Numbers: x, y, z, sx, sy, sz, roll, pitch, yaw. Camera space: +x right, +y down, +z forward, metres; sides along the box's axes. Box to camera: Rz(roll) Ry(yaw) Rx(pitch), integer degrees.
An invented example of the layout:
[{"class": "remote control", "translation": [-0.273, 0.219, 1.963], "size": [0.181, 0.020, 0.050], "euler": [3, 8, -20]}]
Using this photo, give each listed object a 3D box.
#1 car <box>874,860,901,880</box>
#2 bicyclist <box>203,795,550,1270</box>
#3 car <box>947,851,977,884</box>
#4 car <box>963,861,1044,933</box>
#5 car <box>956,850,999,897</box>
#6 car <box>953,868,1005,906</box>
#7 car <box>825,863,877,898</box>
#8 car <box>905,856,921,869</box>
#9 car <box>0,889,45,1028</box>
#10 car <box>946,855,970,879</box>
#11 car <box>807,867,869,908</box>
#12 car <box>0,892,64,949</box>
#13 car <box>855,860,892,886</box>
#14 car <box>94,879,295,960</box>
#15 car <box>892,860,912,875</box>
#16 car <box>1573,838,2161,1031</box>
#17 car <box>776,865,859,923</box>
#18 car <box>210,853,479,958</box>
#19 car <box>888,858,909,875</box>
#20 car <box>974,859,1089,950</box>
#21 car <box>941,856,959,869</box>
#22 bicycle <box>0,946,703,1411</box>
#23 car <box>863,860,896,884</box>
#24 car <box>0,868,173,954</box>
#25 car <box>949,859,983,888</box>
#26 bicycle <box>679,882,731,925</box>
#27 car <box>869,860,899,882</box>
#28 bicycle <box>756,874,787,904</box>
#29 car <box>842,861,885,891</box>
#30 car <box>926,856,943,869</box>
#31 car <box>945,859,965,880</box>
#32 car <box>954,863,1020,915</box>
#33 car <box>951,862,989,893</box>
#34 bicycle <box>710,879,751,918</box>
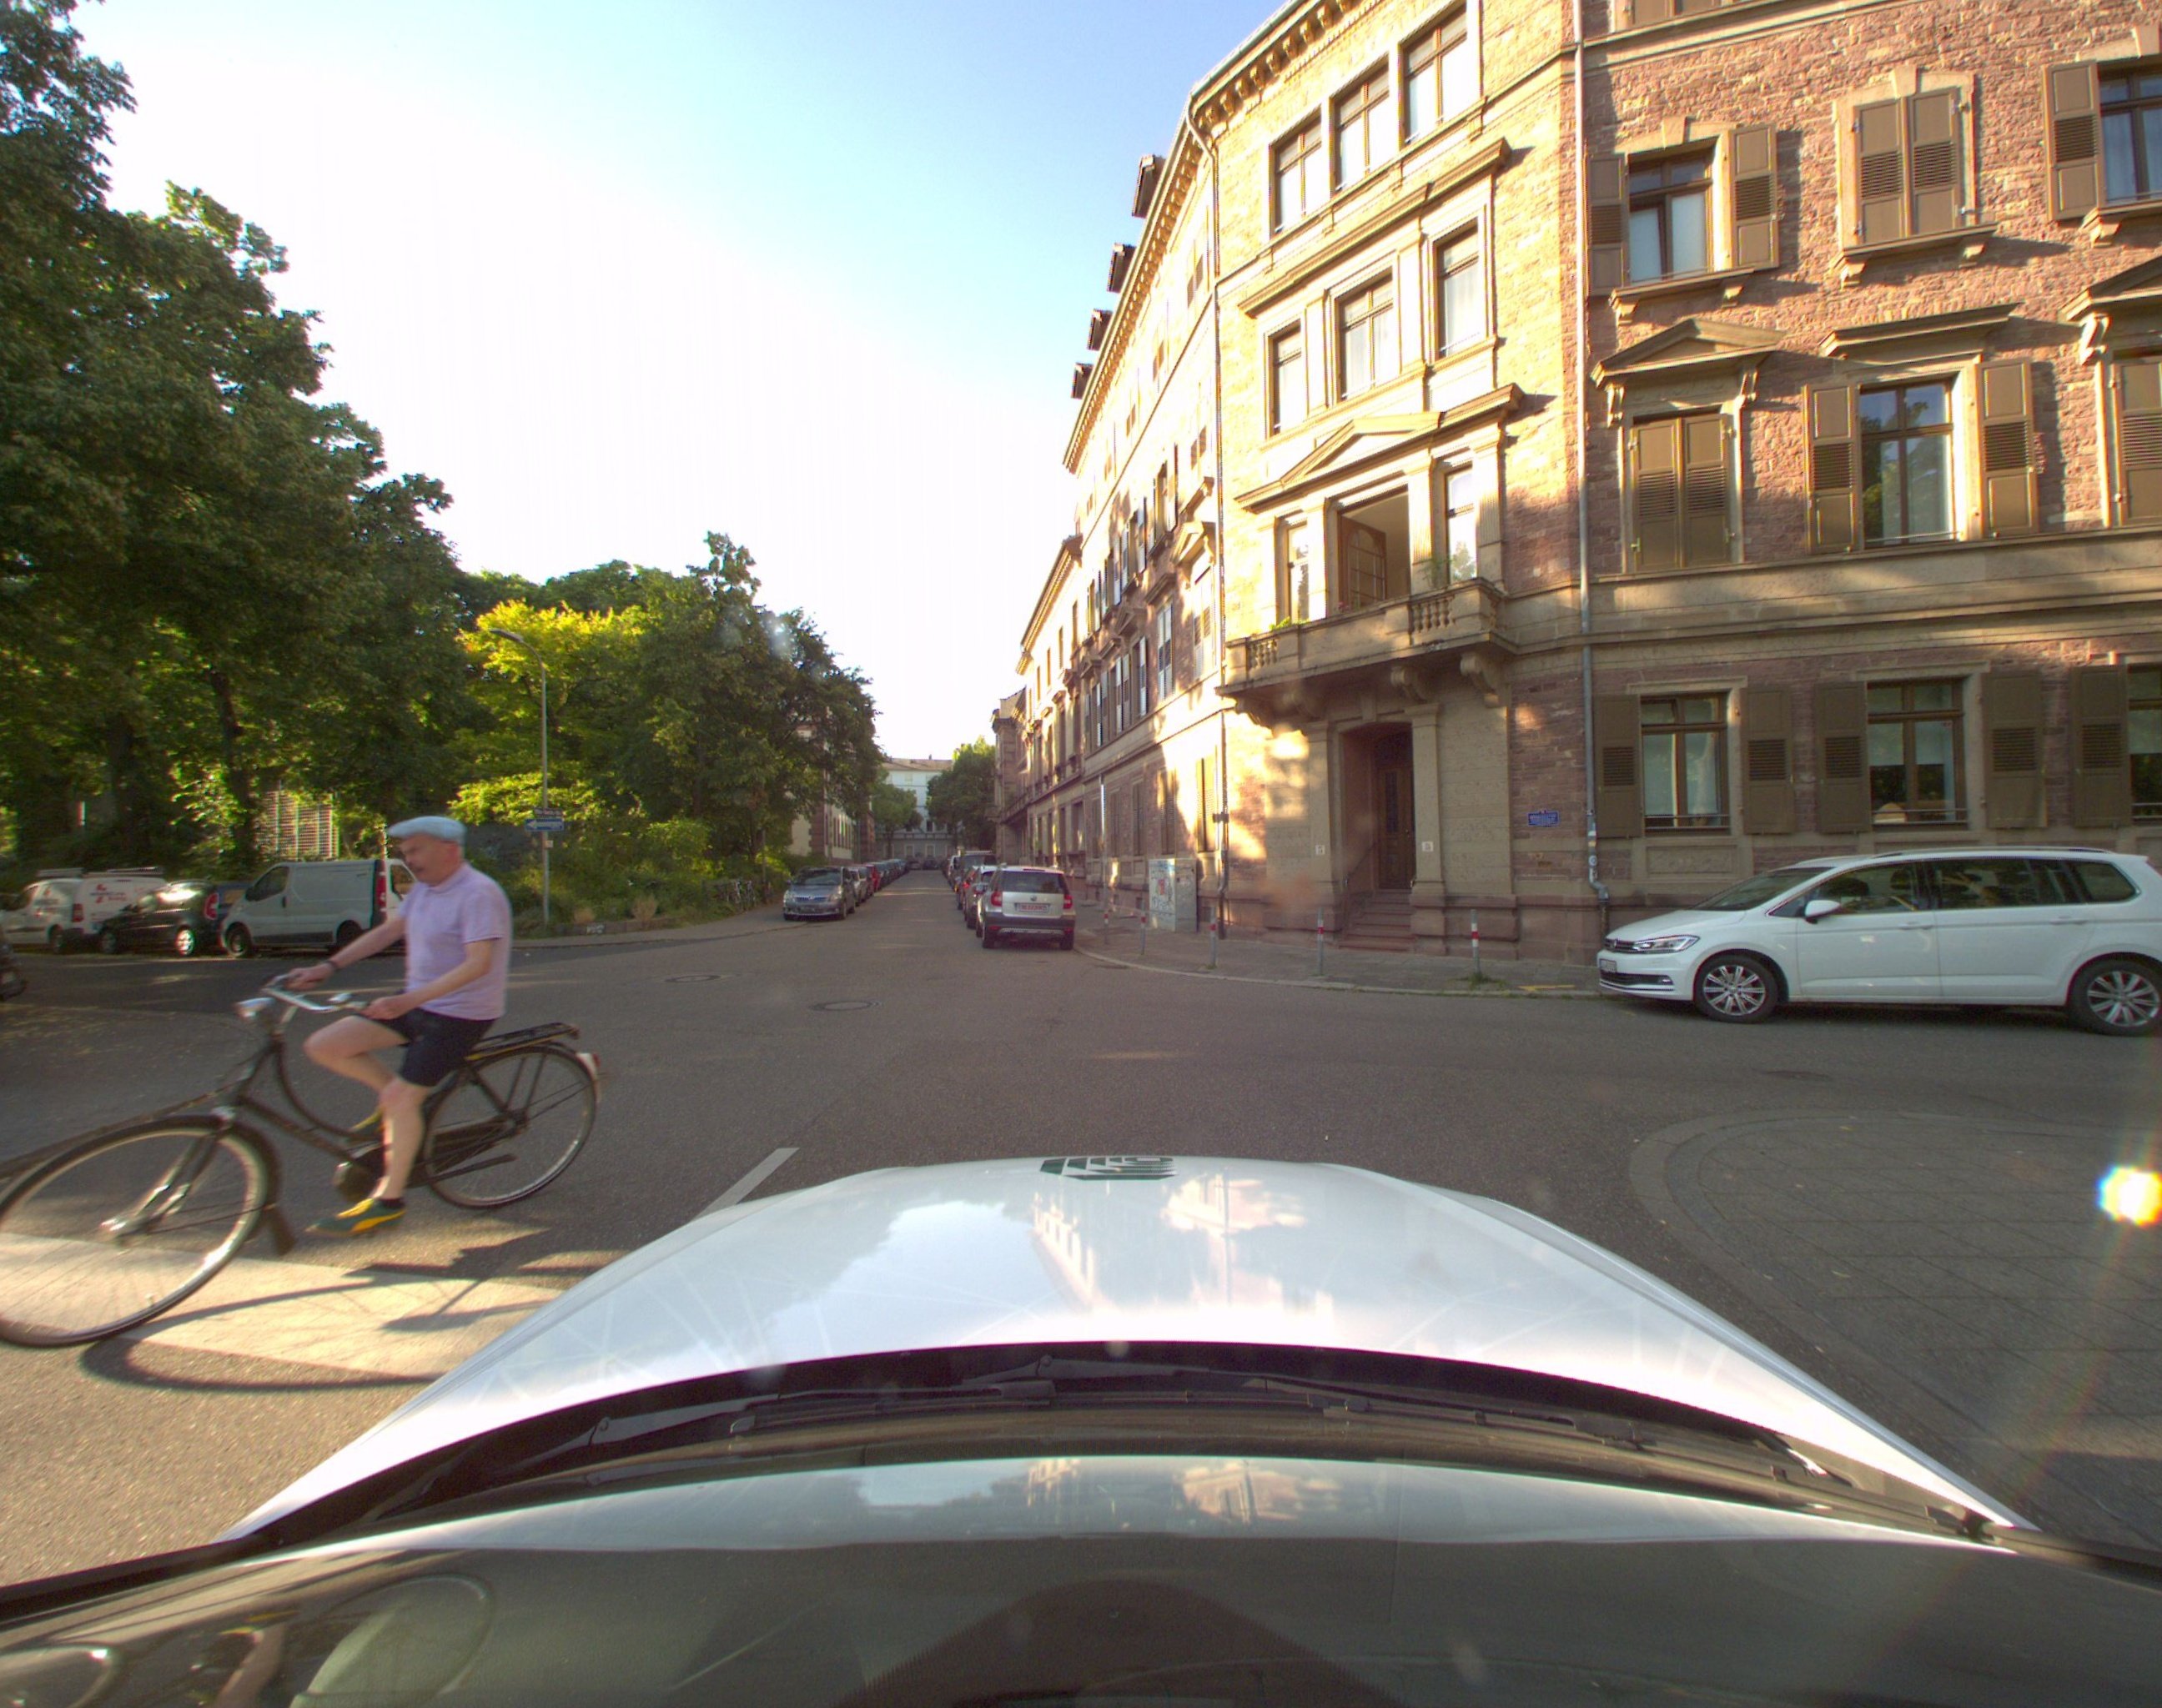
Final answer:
[{"class": "car", "translation": [-15.595, 1.262, 65.794], "size": [1.826, 1.500, 3.918], "euler": [2, -1, -10]}, {"class": "bicyclist", "translation": [-2.803, 0.603, 3.288], "size": [0.692, 1.588, 0.879], "euler": [-1, -1, 31]}, {"class": "car", "translation": [-8.050, 0.911, 54.912], "size": [1.798, 2.073, 3.941], "euler": [2, -1, -10]}, {"class": "car", "translation": [-2.234, 1.096, 22.351], "size": [1.826, 1.724, 4.528], "euler": [2, -1, -10]}, {"class": "car", "translation": [-4.916, 0.899, 38.356], "size": [1.798, 2.073, 3.941], "euler": [2, -1, -10]}, {"class": "car", "translation": [-4.129, 1.276, 32.536], "size": [1.798, 1.345, 3.941], "euler": [2, -1, -10]}, {"class": "car", "translation": [-10.633, 1.205, 37.890], "size": [1.826, 1.478, 3.918], "euler": [2, -1, -10]}, {"class": "car", "translation": [-23.473, 1.160, 113.710], "size": [1.997, 1.684, 3.978], "euler": [0, -3, -16]}, {"class": "car", "translation": [-13.858, 1.117, 8.340], "size": [3.756, 1.521, 1.588], "euler": [3, -3, -43]}, {"class": "car", "translation": [-10.012, 1.064, 66.042], "size": [1.798, 1.839, 3.941], "euler": [2, -1, -10]}, {"class": "car", "translation": [-9.592, 1.285, 32.436], "size": [1.826, 1.447, 3.918], "euler": [2, -1, -10]}, {"class": "car", "translation": [-28.839, 1.739, 21.376], "size": [3.559, 1.386, 1.584], "euler": [-1, -1, 19]}, {"class": "car", "translation": [-12.834, 1.167, 50.625], "size": [1.826, 1.500, 3.918], "euler": [2, -1, -10]}, {"class": "car", "translation": [-19.870, 1.436, 18.276], "size": [3.671, 1.637, 1.583], "euler": [-1, -1, 17]}, {"class": "car", "translation": [-18.941, 1.420, 86.147], "size": [1.826, 1.500, 3.918], "euler": [2, -1, -10]}, {"class": "car", "translation": [7.851, 0.759, 8.339], "size": [4.449, 1.650, 1.882], "euler": [-1, -3, 15]}, {"class": "car", "translation": [-8.293, 1.200, 25.960], "size": [1.826, 1.615, 4.277], "euler": [2, -1, -10]}, {"class": "car", "translation": [-15.339, 1.035, 17.027], "size": [4.610, 2.003, 1.958], "euler": [-1, -1, 15]}, {"class": "car", "translation": [-18.158, 1.237, 81.125], "size": [1.826, 1.500, 3.918], "euler": [2, -1, -10]}, {"class": "car", "translation": [-1.185, 1.002, 17.422], "size": [1.916, 1.657, 4.171], "euler": [2, -1, -11]}, {"class": "car", "translation": [-18.611, 1.211, 115.438], "size": [1.997, 1.684, 3.978], "euler": [0, -3, -16]}, {"class": "bicycle", "translation": [-2.753, 1.027, 3.363], "size": [0.692, 1.054, 2.137], "euler": [-1, -1, 31]}, {"class": "car", "translation": [-13.772, 1.220, 55.750], "size": [1.826, 1.500, 3.918], "euler": [2, -1, -10]}, {"class": "car", "translation": [-24.197, 1.333, 19.647], "size": [3.858, 1.903, 1.583], "euler": [-1, -1, 18]}, {"class": "car", "translation": [-6.946, 1.165, 48.965], "size": [1.798, 1.623, 3.941], "euler": [2, -1, -10]}, {"class": "bicycle", "translation": [-10.752, 1.379, 23.367], "size": [0.596, 1.101, 2.620], "euler": [-1, -1, -8]}, {"class": "car", "translation": [-14.514, 1.263, 60.107], "size": [1.826, 1.500, 3.918], "euler": [2, -1, -10]}, {"class": "bicycle", "translation": [-12.312, 1.352, 32.439], "size": [0.596, 1.101, 2.619], "euler": [-1, -1, -8]}, {"class": "car", "translation": [-11.684, 1.174, 43.938], "size": [1.826, 1.500, 3.918], "euler": [2, -1, -10]}, {"class": "car", "translation": [-20.683, 1.202, 115.004], "size": [1.997, 1.684, 3.978], "euler": [0, -3, -16]}, {"class": "car", "translation": [-12.523, 1.546, 80.579], "size": [1.798, 2.017, 3.941], "euler": [2, -1, -10]}, {"class": "car", "translation": [-3.270, 1.133, 27.771], "size": [1.799, 1.614, 3.938], "euler": [2, -1, -12]}, {"class": "car", "translation": [-6.001, 1.224, 43.756], "size": [1.798, 1.524, 3.941], "euler": [2, -1, -10]}, {"class": "bicycle", "translation": [-11.168, 1.391, 26.045], "size": [0.597, 1.101, 2.618], "euler": [-1, -1, -10]}]
